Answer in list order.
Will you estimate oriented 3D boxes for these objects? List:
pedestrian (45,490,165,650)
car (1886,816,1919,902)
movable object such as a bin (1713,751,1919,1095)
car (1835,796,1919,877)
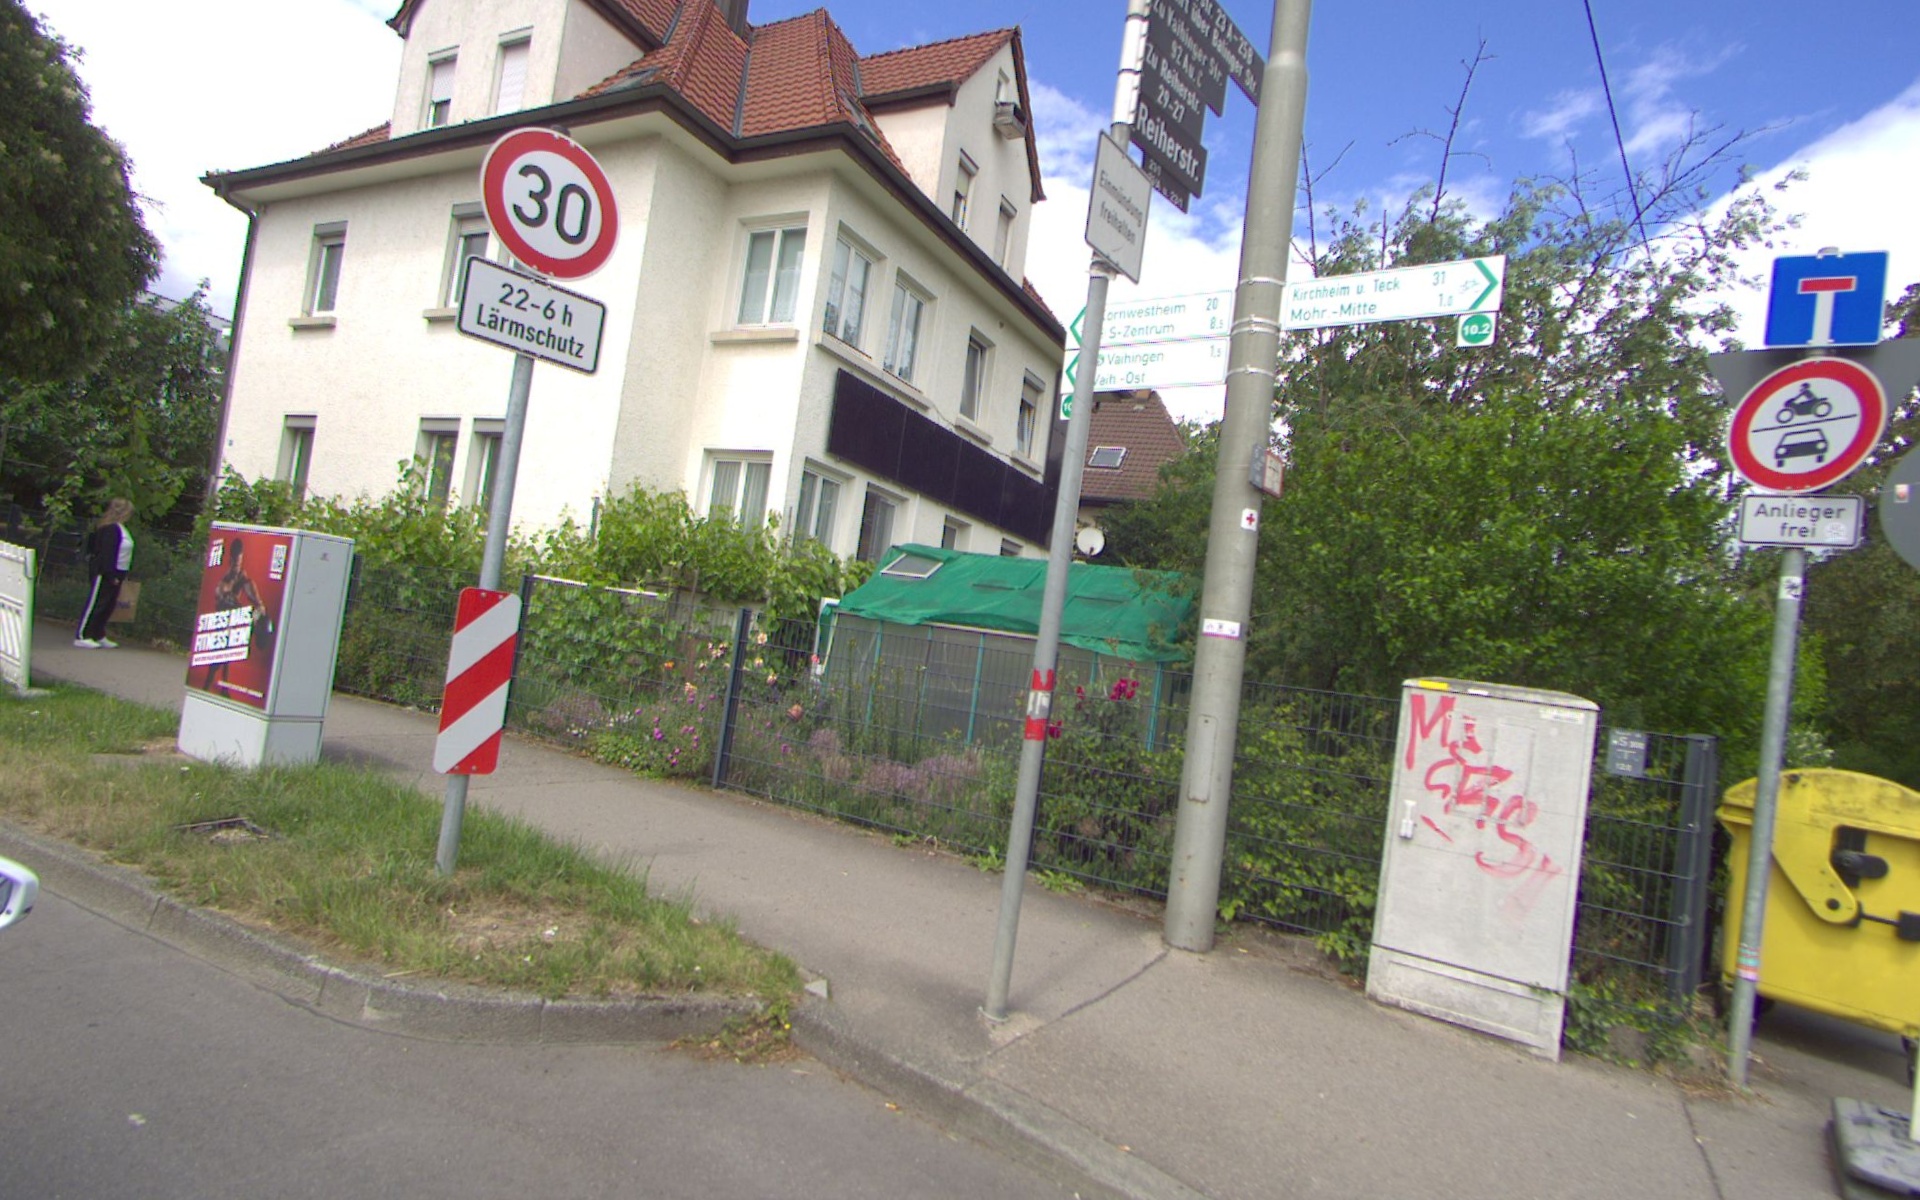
[{"bbox_3d":[-8.962,-0.298,10.569,0.626,1.558,0.520,8,-1,-14],"label":"pedestrian"},{"bbox_3d":[18.368,4.856,18.013,1.969,1.391,3.994,7,-4,35],"label":"car"},{"bbox_3d":[4.860,1.668,5.415,0.992,1.486,1.266,7,-3,45],"label":"movable object such as a bin"},{"bbox_3d":[21.200,5.326,22.450,1.969,1.391,3.994,7,-4,35],"label":"car"}]
